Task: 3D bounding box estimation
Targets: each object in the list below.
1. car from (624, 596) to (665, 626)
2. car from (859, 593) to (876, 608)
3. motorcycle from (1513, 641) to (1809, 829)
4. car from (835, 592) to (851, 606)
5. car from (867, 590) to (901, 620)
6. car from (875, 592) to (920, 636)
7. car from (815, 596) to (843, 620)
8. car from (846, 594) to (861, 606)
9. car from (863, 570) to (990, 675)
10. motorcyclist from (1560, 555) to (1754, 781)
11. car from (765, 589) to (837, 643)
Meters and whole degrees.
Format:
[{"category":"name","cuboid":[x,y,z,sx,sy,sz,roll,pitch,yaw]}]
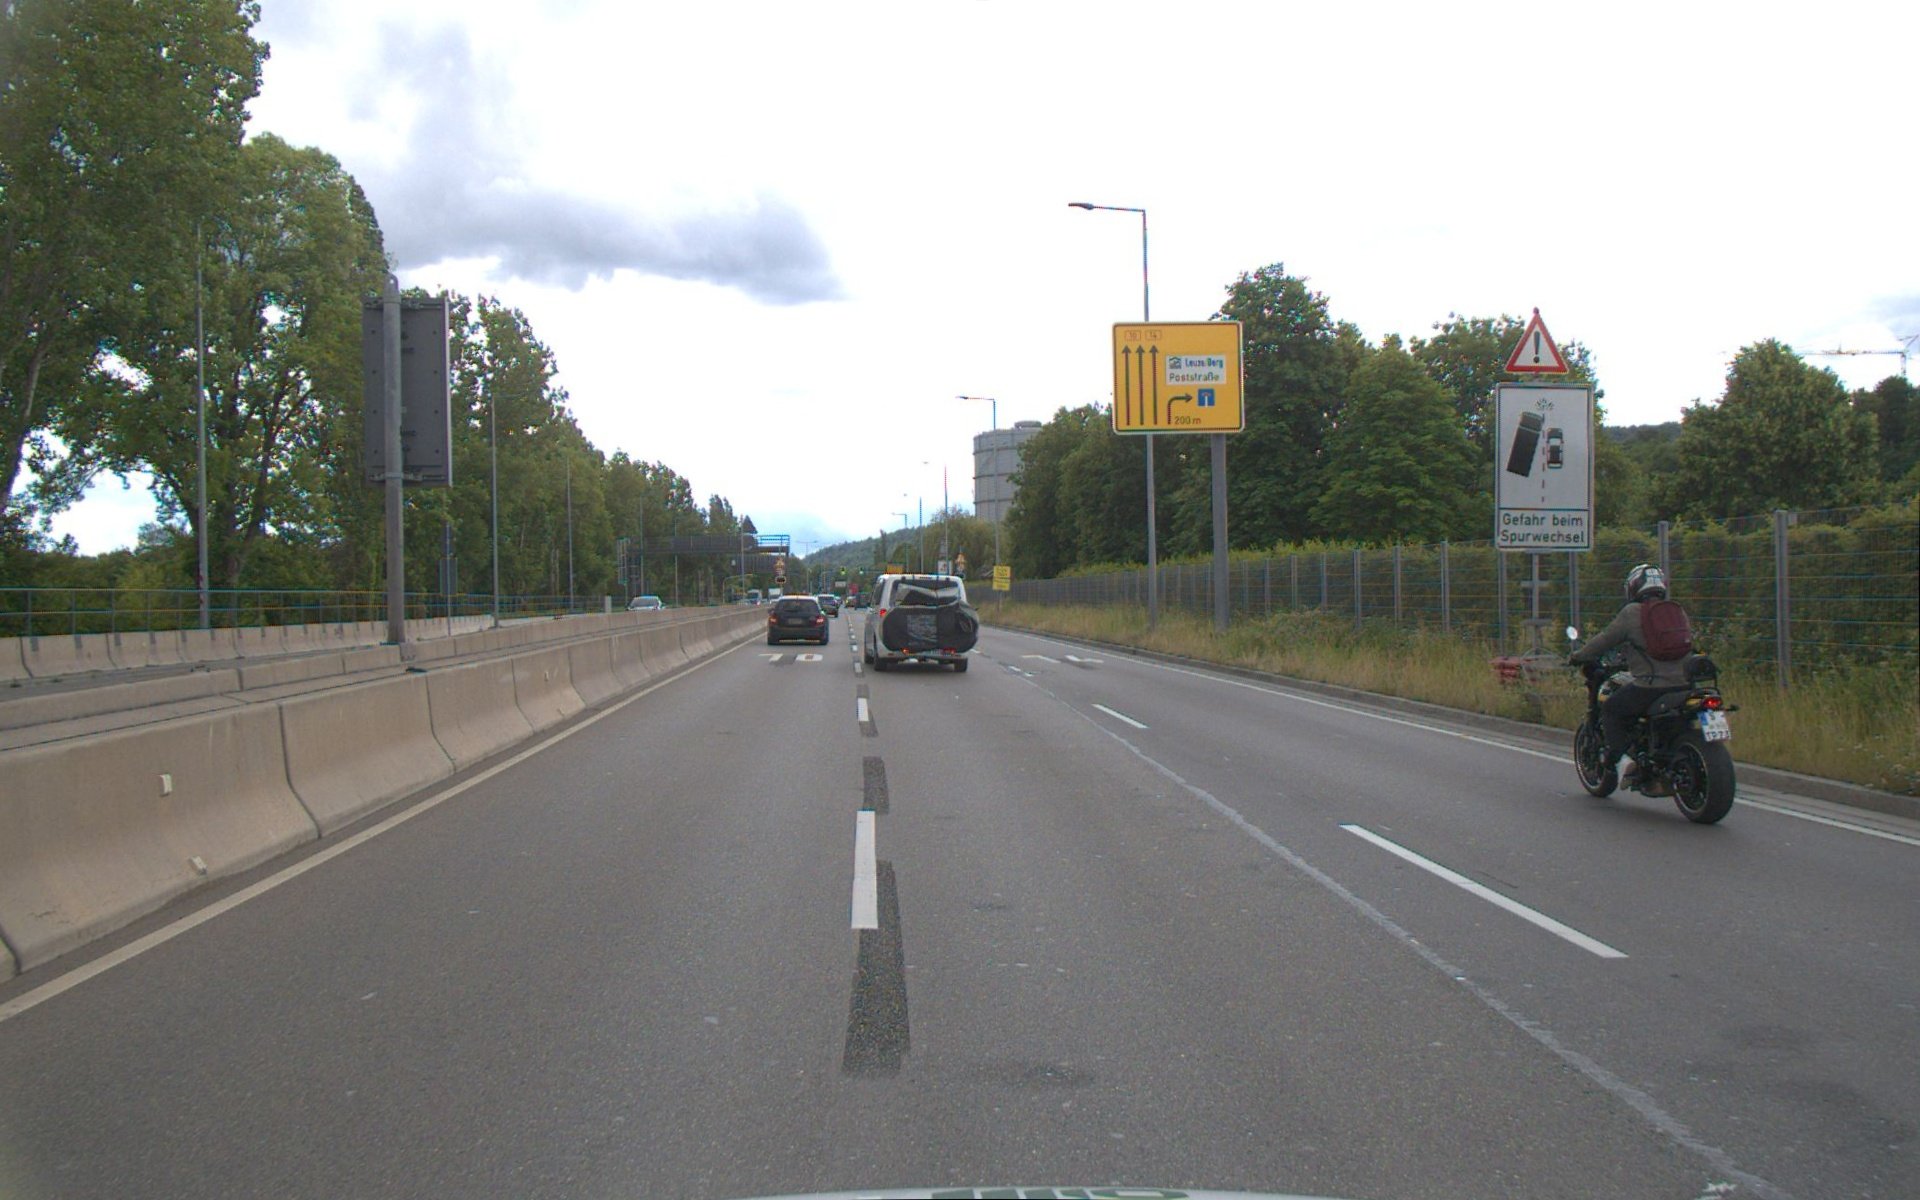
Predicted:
[{"category":"car","cuboid":[-15.333,0.532,80.508,1.700,1.398,3.611,0,0,-7]},{"category":"car","cuboid":[-10.985,0.049,197.111,1.954,1.683,3.997,0,0,-4]},{"category":"motorcycle","cuboid":[4.848,0.876,11.709,0.729,1.102,2.661,-1,0,-6]},{"category":"car","cuboid":[-14.799,-0.121,209.409,1.954,1.683,3.997,0,0,-4]},{"category":"car","cuboid":[-4.440,0.276,96.790,1.953,1.698,3.998,0,0,-2]},{"category":"car","cuboid":[-2.845,0.610,74.462,1.954,1.892,3.998,0,0,-3]},{"category":"car","cuboid":[-9.375,0.591,118.751,1.954,1.702,3.996,1,-1,-4]},{"category":"car","cuboid":[-15.162,0.061,235.044,1.955,1.683,3.995,0,0,-6]},{"category":"car","cuboid":[-0.778,0.392,33.132,1.955,1.891,5.633,2,0,-7]},{"category":"motorcyclist","cuboid":[4.844,0.447,11.554,0.895,1.502,0.965,0,0,-6]},{"category":"car","cuboid":[-4.638,0.437,48.655,1.778,1.459,4.064,-2,1,-1]}]
